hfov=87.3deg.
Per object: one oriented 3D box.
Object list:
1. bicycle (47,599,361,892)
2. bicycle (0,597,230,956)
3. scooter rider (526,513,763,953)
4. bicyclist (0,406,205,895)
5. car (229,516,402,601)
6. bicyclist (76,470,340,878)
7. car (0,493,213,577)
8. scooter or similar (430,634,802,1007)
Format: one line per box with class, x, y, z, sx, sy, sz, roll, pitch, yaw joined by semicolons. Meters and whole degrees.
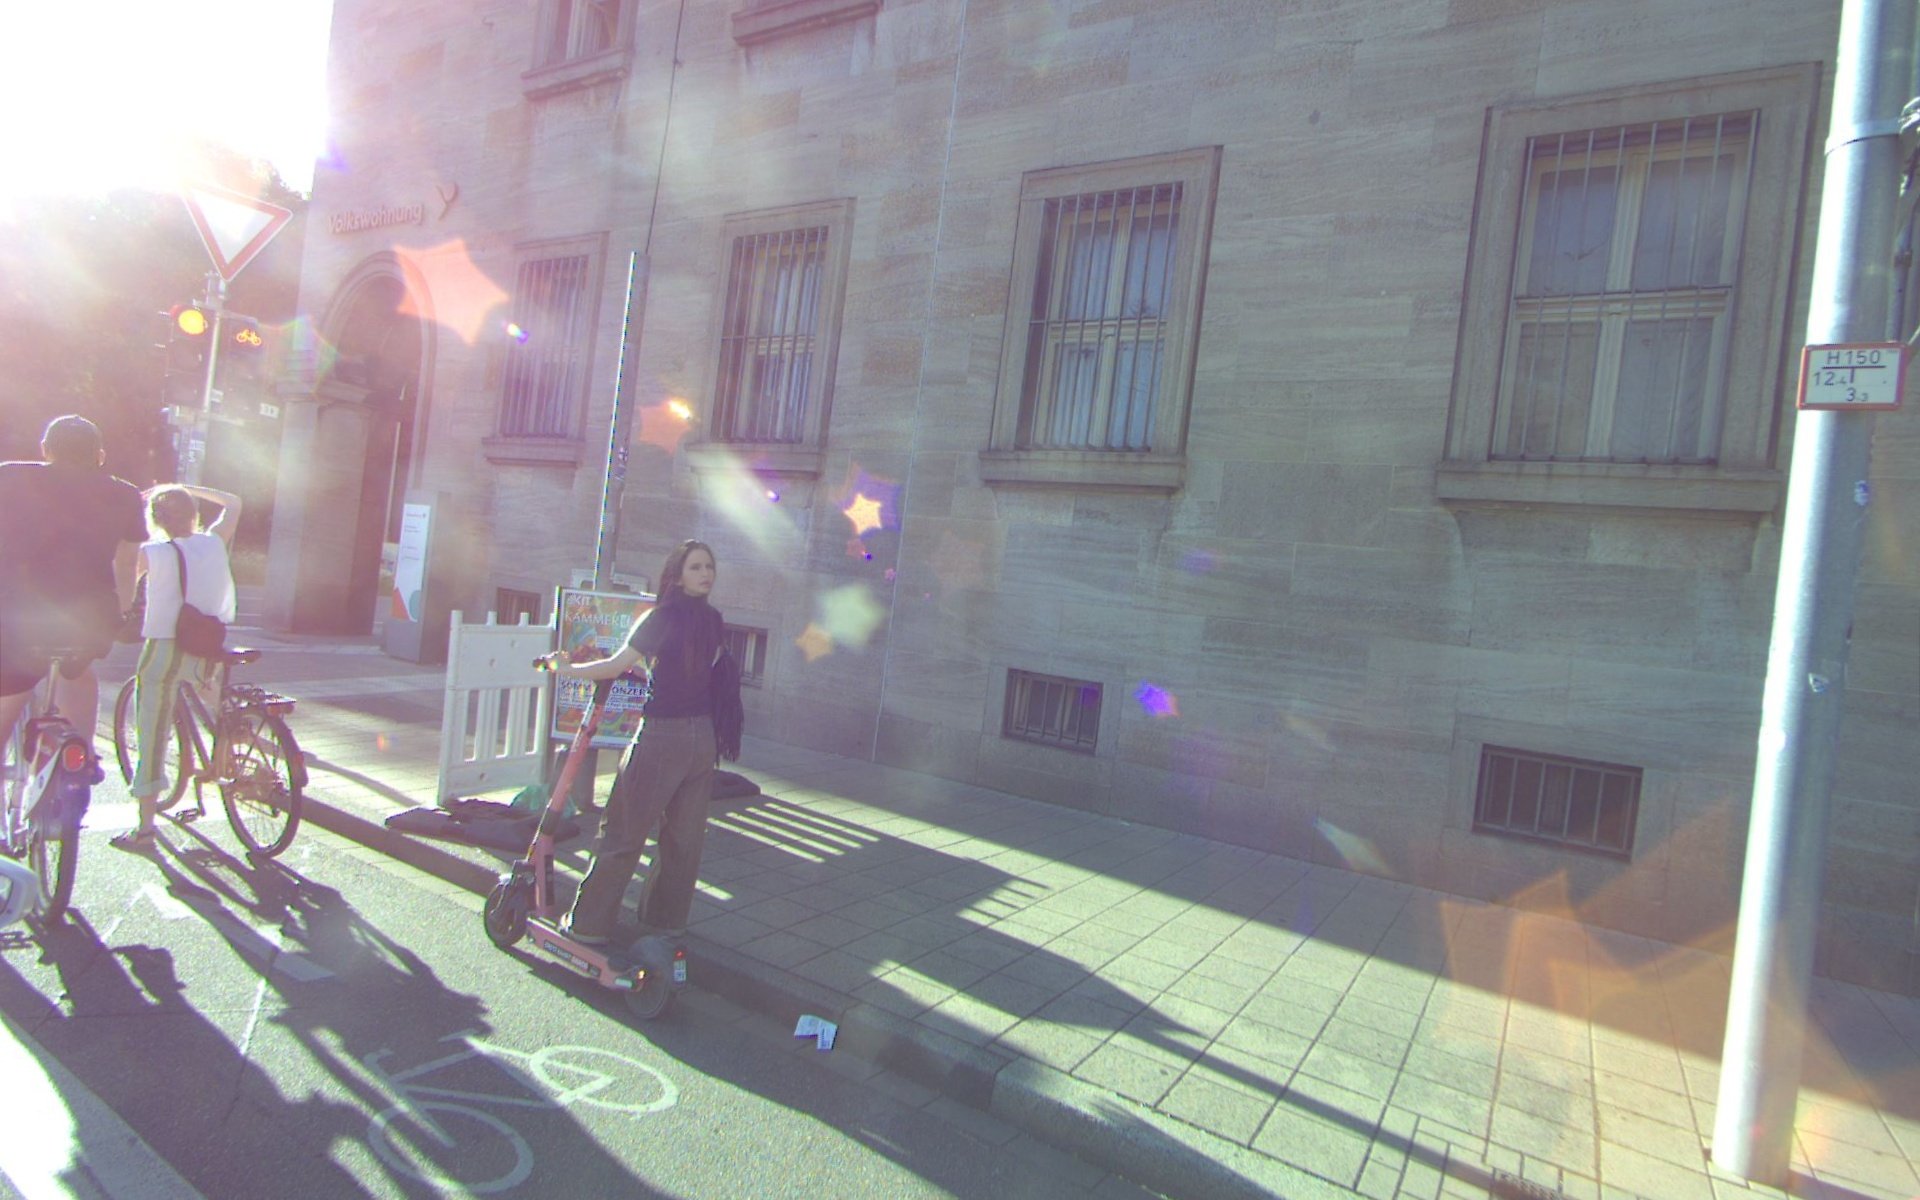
bicycle;-3.708;0.626;4.888;1.718;1.057;0.582;7;0;33
bicycle;-3.719;0.588;3.991;1.717;1.057;0.624;7;0;31
scooter rider;-1.254;0.487;3.996;0.543;1.581;0.570;7;0;-43
bicyclist;-3.656;0.167;3.985;0.897;1.736;0.624;7;0;30
car;-20.279;-1.261;31.805;1.968;2.037;3.994;6;-2;33
bicyclist;-3.641;0.313;4.867;0.934;1.760;0.584;7;0;32
car;-23.479;-1.750;27.349;1.967;1.533;4.586;6;-2;32
scooter or similar;-1.364;0.791;3.986;1.250;1.163;0.575;5;-2;27
